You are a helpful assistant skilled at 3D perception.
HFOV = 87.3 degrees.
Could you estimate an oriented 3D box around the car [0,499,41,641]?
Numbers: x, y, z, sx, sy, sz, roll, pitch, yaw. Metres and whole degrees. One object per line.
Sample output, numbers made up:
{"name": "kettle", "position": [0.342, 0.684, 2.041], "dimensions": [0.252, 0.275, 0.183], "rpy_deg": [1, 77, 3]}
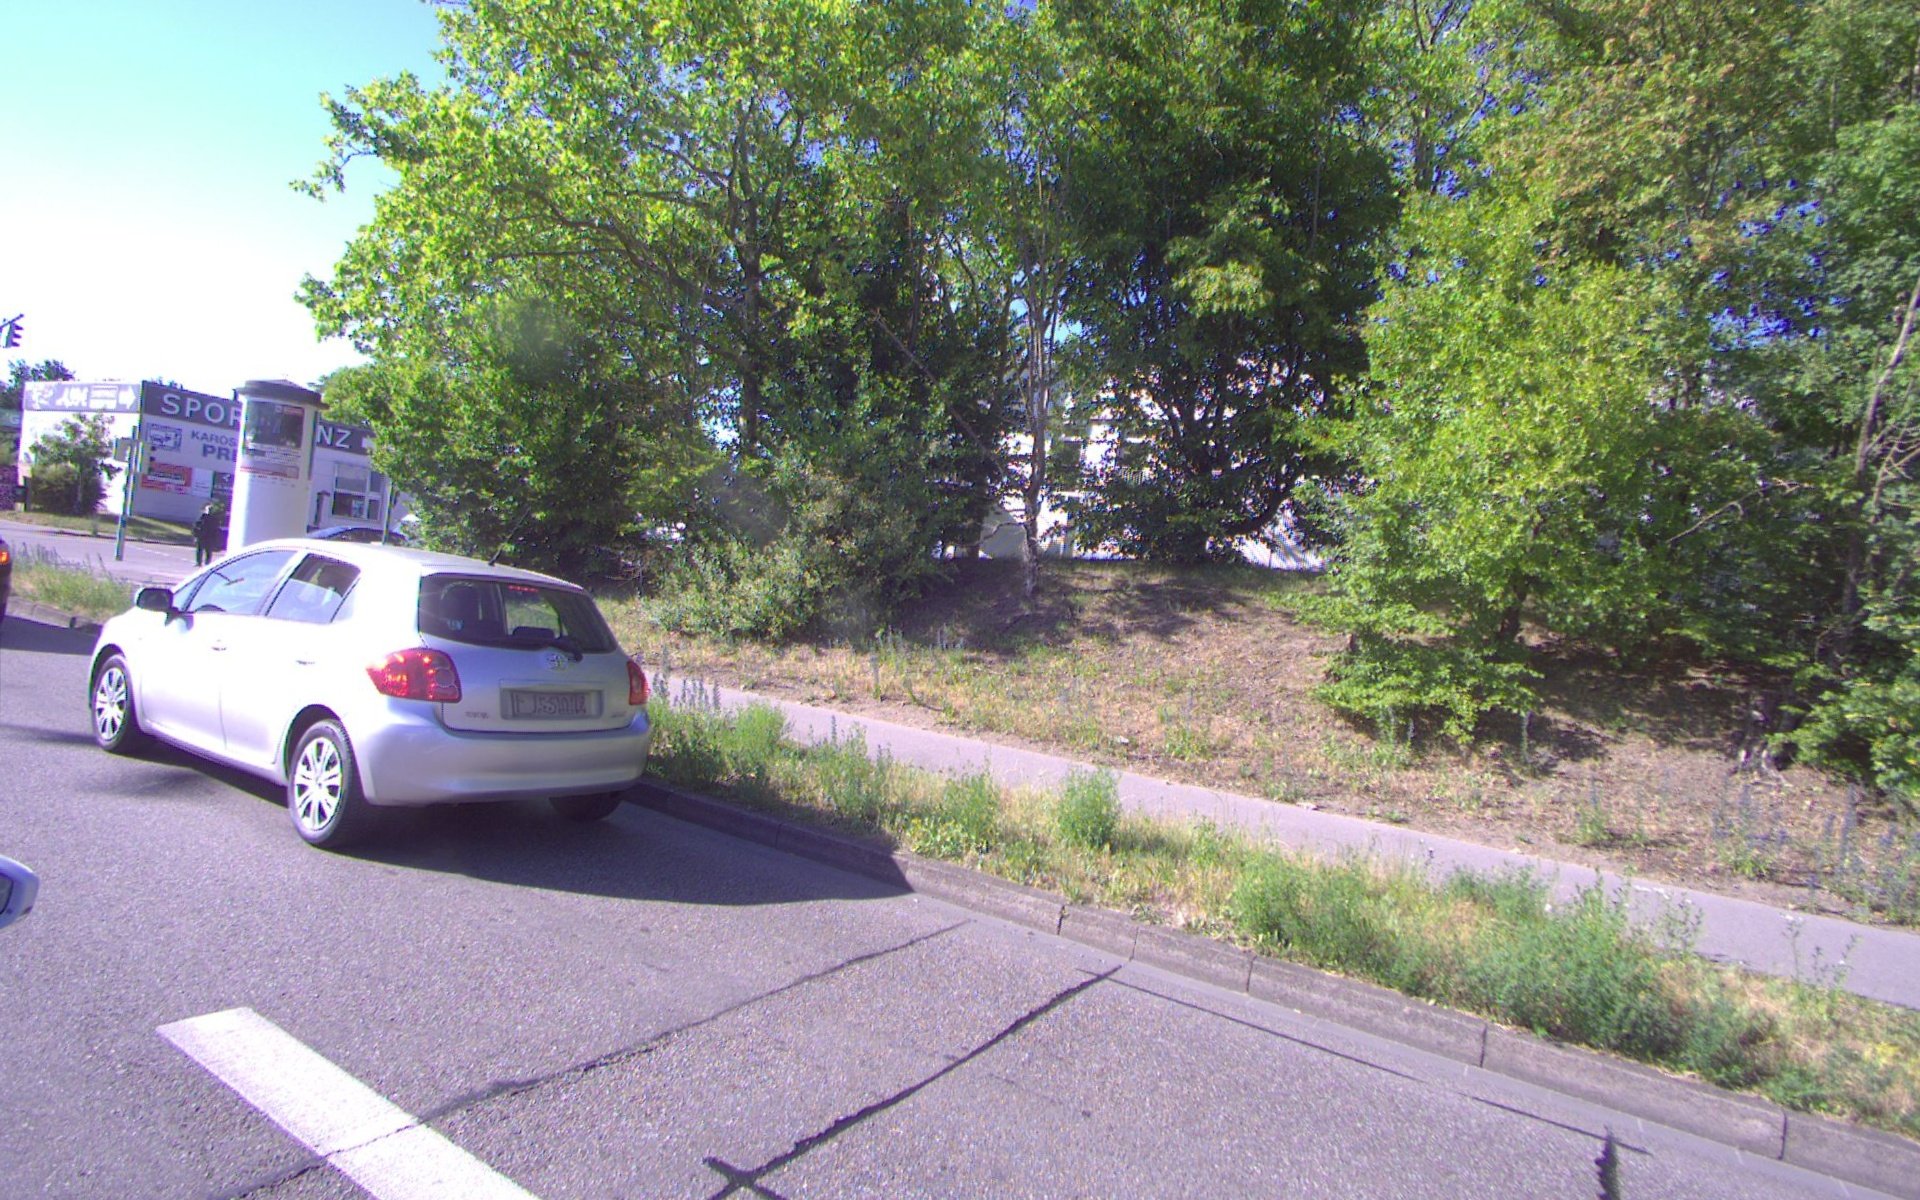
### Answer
{"name": "car", "position": [-12.103, -0.582, 11.055], "dimensions": [4.299, 1.458, 1.737], "rpy_deg": [7, -2, 32]}

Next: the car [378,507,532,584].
{"name": "car", "position": [-22.666, -2.391, 45.424], "dimensions": [1.967, 2.706, 5.840], "rpy_deg": [6, 0, 32]}

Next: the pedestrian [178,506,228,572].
{"name": "pedestrian", "position": [-21.077, -1.699, 28.016], "dimensions": [0.506, 1.688, 0.818], "rpy_deg": [6, -1, 31]}

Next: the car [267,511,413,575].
{"name": "car", "position": [-23.289, -2.105, 37.969], "dimensions": [1.611, 1.668, 4.316], "rpy_deg": [6, -2, 31]}

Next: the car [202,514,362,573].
{"name": "car", "position": [-26.448, -2.166, 39.428], "dimensions": [1.729, 1.484, 4.831], "rpy_deg": [6, -2, 30]}

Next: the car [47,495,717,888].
{"name": "car", "position": [-3.707, 0.383, 6.283], "dimensions": [4.039, 1.555, 1.787], "rpy_deg": [7, -2, 32]}
